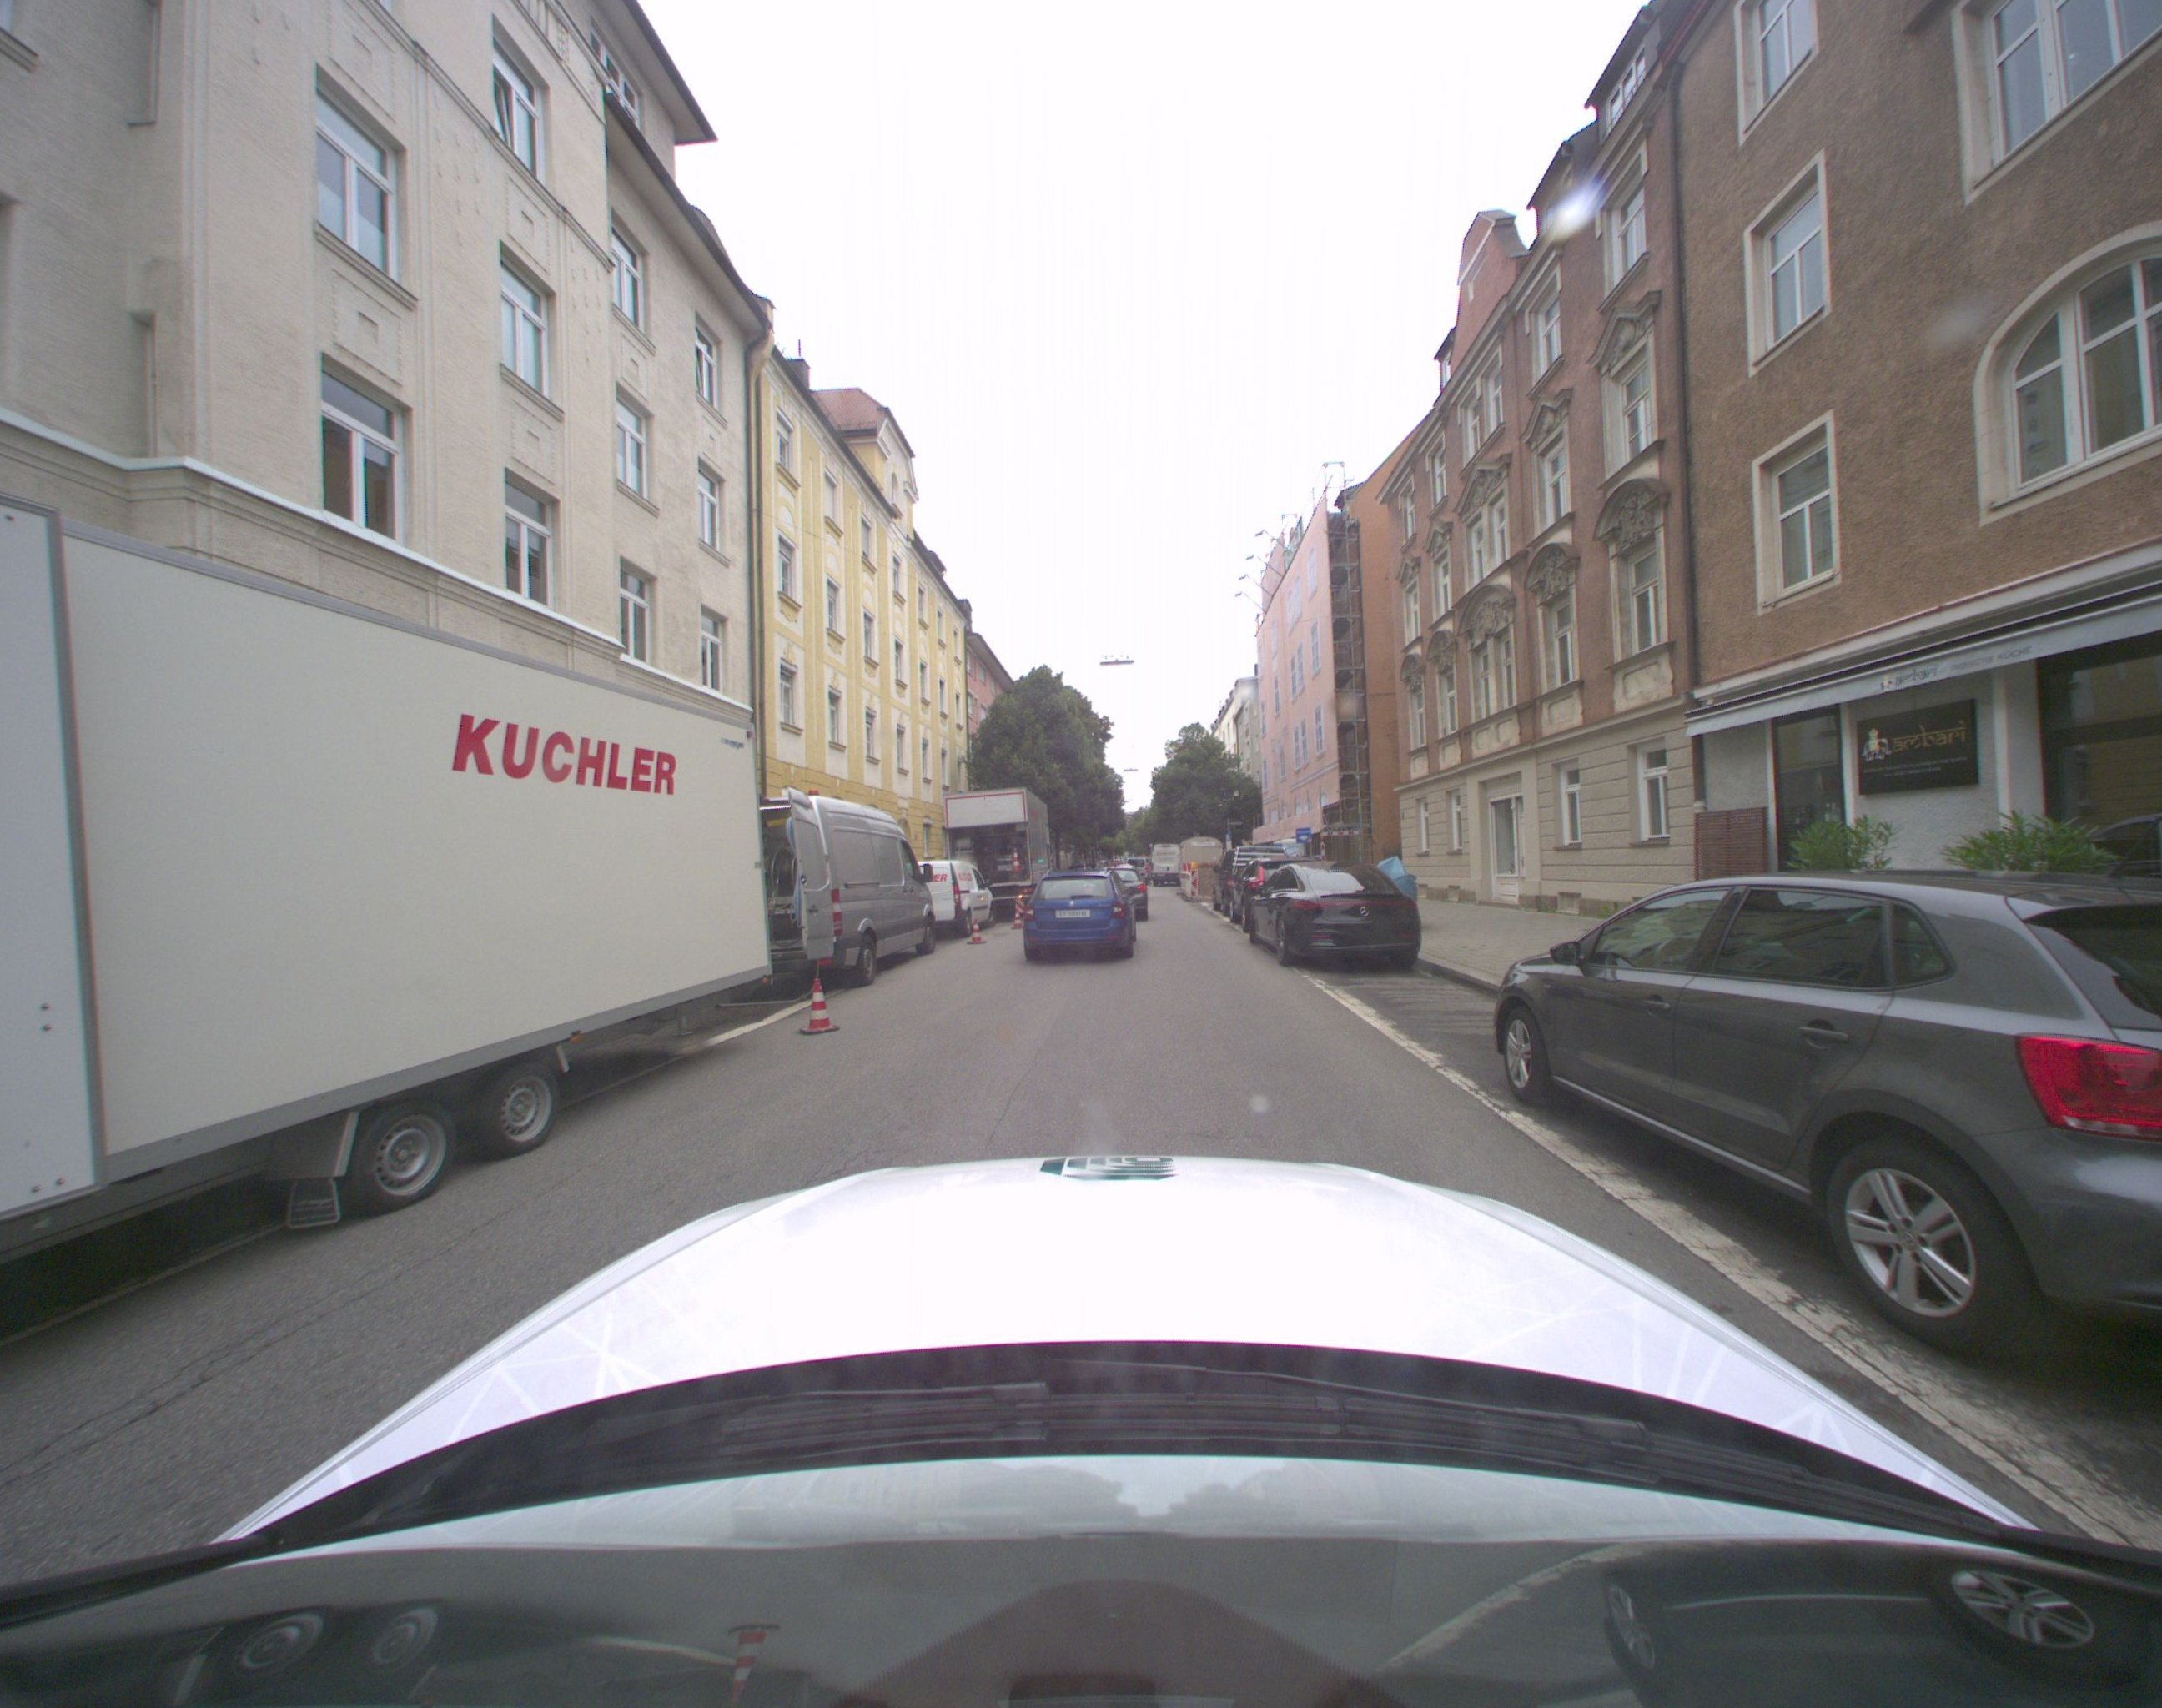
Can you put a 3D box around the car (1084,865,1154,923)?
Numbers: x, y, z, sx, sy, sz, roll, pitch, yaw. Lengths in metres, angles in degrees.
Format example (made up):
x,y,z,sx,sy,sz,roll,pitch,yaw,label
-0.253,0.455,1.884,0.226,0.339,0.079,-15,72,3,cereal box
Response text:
x,y,z,sx,sy,sz,roll,pitch,yaw,label
1.139,1.063,22.843,1.733,1.422,3.669,-2,-1,5,car

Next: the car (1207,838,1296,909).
x,y,z,sx,sy,sz,roll,pitch,yaw,label
5.057,0.676,24.852,2.072,1.921,5.146,-1,-3,5,car

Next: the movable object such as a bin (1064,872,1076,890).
x,y,z,sx,sy,sz,roll,pitch,yaw,label
-0.718,1.735,52.392,0.709,1.148,0.636,-4,-1,0,movable object such as a bin

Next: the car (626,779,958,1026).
x,y,z,sx,sy,sz,roll,pitch,yaw,label
-3.804,0.590,12.646,2.047,2.587,6.883,-6,-1,4,car

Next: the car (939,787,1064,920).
x,y,z,sx,sy,sz,roll,pitch,yaw,label
-2.452,0.049,28.388,2.800,3.818,8.731,-2,-1,4,car

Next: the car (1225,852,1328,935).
x,y,z,sx,sy,sz,roll,pitch,yaw,label
4.396,0.844,18.900,1.685,1.677,4.413,1,-1,5,car

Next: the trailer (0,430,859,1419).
x,y,z,sx,sy,sz,roll,pitch,yaw,label
-4.341,0.275,5.161,2.789,2.969,7.613,-5,0,6,trailer

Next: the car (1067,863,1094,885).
x,y,z,sx,sy,sz,roll,pitch,yaw,label
-0.027,1.480,61.115,1.805,1.478,4.002,-1,-1,2,car

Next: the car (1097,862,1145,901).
x,y,z,sx,sy,sz,roll,pitch,yaw,label
1.685,1.100,33.866,1.859,1.454,4.351,-1,0,3,car

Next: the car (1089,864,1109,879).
x,y,z,sx,sy,sz,roll,pitch,yaw,label
1.903,1.788,83.835,1.804,1.478,4.004,-1,-1,4,car

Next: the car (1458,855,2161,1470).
x,y,z,sx,sy,sz,roll,pitch,yaw,label
3.389,0.746,3.701,1.565,1.394,4.186,-2,-1,3,car

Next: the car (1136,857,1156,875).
x,y,z,sx,sy,sz,roll,pitch,yaw,label
6.252,1.149,78.917,1.859,1.653,4.352,-1,0,4,car

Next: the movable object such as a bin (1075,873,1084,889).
x,y,z,sx,sy,sz,roll,pitch,yaw,label
-0.099,1.735,52.418,0.545,1.020,0.636,-4,-1,1,movable object such as a bin

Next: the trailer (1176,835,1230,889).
x,y,z,sx,sy,sz,roll,pitch,yaw,label
6.928,0.489,46.975,2.491,2.840,6.908,-1,-1,4,trailer

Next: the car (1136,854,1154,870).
x,y,z,sx,sy,sz,roll,pitch,yaw,label
7.148,0.866,90.643,1.998,1.653,4.353,-1,0,5,car

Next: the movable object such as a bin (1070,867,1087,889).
x,y,z,sx,sy,sz,roll,pitch,yaw,label
-0.180,1.608,54.382,1.017,1.376,1.103,-4,-1,0,movable object such as a bin

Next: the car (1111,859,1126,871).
x,y,z,sx,sy,sz,roll,pitch,yaw,label
5.381,1.588,117.141,1.998,1.653,4.352,-1,0,4,car

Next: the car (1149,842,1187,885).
x,y,z,sx,sy,sz,roll,pitch,yaw,label
5.814,0.653,54.152,2.099,2.664,5.515,-1,-1,10,car

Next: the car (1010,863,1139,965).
x,y,z,sx,sy,sz,roll,pitch,yaw,label
0.045,0.930,14.317,1.780,1.460,4.320,-2,-1,5,car

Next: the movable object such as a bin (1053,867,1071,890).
x,y,z,sx,sy,sz,roll,pitch,yaw,label
-1.245,1.583,53.258,1.078,1.376,1.083,-4,-1,0,movable object such as a bin

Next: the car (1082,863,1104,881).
x,y,z,sx,sy,sz,roll,pitch,yaw,label
1.062,1.557,71.812,1.805,1.478,4.002,-1,-1,2,car

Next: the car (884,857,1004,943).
x,y,z,sx,sy,sz,roll,pitch,yaw,label
-3.222,1.048,20.047,1.754,1.779,4.332,-4,-1,5,car

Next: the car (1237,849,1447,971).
x,y,z,sx,sy,sz,roll,pitch,yaw,label
3.952,0.767,13.478,1.923,1.553,5.641,-1,-1,3,car

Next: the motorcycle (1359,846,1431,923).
x,y,z,sx,sy,sz,roll,pitch,yaw,label
6.556,0.613,17.131,0.867,1.505,2.000,-2,-1,6,motorcycle

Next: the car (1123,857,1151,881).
x,y,z,sx,sy,sz,roll,pitch,yaw,label
4.565,1.167,66.177,1.856,1.870,4.358,-1,0,9,car

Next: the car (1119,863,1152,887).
x,y,z,sx,sy,sz,roll,pitch,yaw,label
3.249,1.215,48.797,1.859,1.348,4.352,-1,0,4,car
